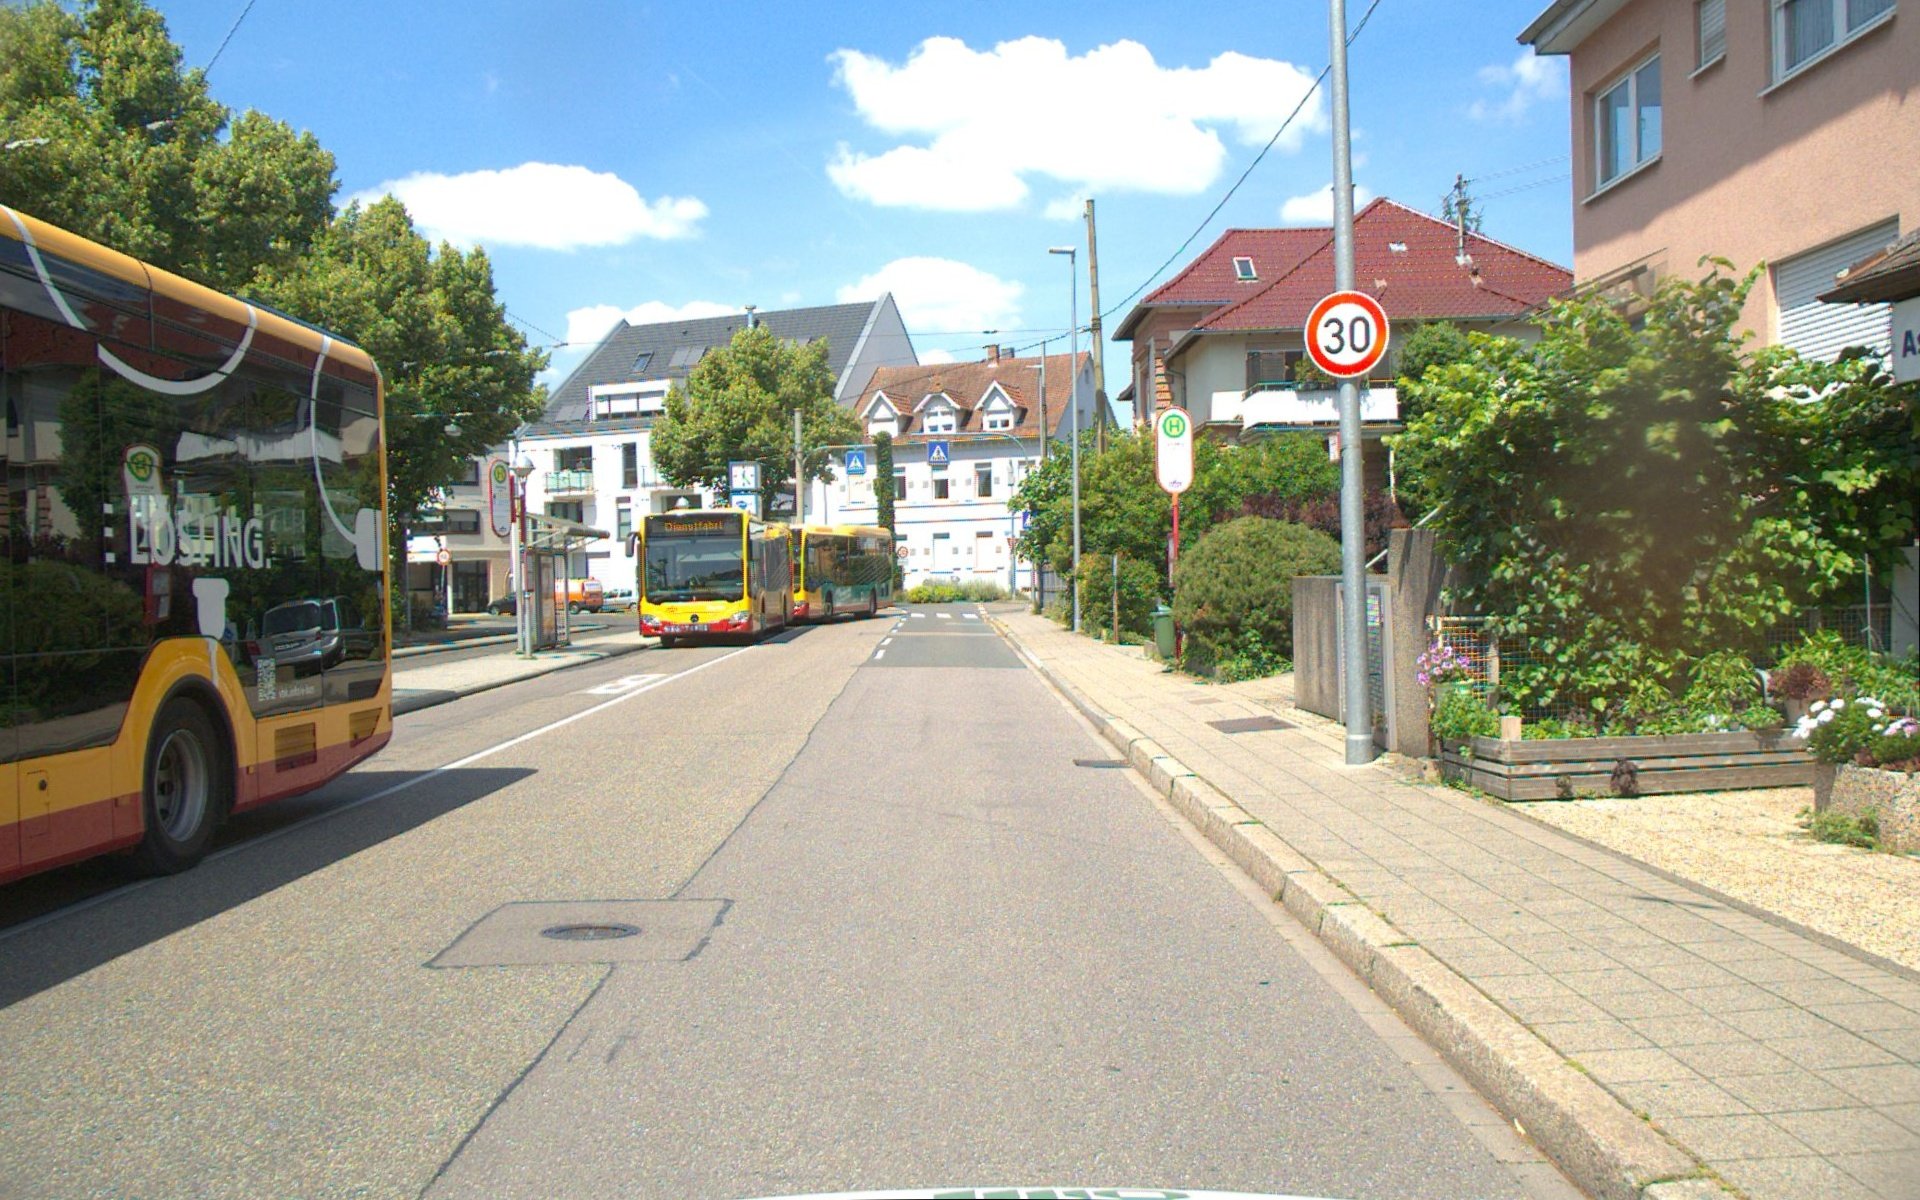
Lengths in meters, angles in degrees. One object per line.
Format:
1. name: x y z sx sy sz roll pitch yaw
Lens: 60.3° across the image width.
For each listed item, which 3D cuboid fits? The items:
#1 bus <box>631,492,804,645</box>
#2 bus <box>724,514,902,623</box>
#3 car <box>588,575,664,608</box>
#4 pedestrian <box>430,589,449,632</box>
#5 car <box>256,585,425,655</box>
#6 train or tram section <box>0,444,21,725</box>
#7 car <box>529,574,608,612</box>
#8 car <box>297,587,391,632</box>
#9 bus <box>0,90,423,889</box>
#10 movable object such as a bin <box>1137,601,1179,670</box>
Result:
1. bus: -5.894 -0.716 42.318 2.848 3.304 12.115 1 0 -1
2. bus: -4.647 -1.092 55.839 2.720 3.264 12.318 1 1 11
3. car: -19.072 -0.478 94.398 3.907 1.808 1.856 0 -1 24
4. pedestrian: -25.157 0.524 79.967 0.677 2.049 0.611 1 -1 -36
5. car: -12.944 0.425 34.661 3.231 1.397 1.460 1 -1 -21
6. train or tram section: -14.051 -0.191 15.278 2.903 3.706 13.991 1 0 -1
7. car: -21.678 -0.374 91.473 3.911 2.049 1.997 0 -1 28
8. car: -19.239 0.323 51.849 1.680 1.342 3.996 1 -1 -4
9. bus: -5.391 -0.476 6.106 2.839 3.304 12.194 1 -1 0
10. movable object such as a bin: 2.782 0.494 23.273 0.398 0.922 0.729 -4 -1 -4
